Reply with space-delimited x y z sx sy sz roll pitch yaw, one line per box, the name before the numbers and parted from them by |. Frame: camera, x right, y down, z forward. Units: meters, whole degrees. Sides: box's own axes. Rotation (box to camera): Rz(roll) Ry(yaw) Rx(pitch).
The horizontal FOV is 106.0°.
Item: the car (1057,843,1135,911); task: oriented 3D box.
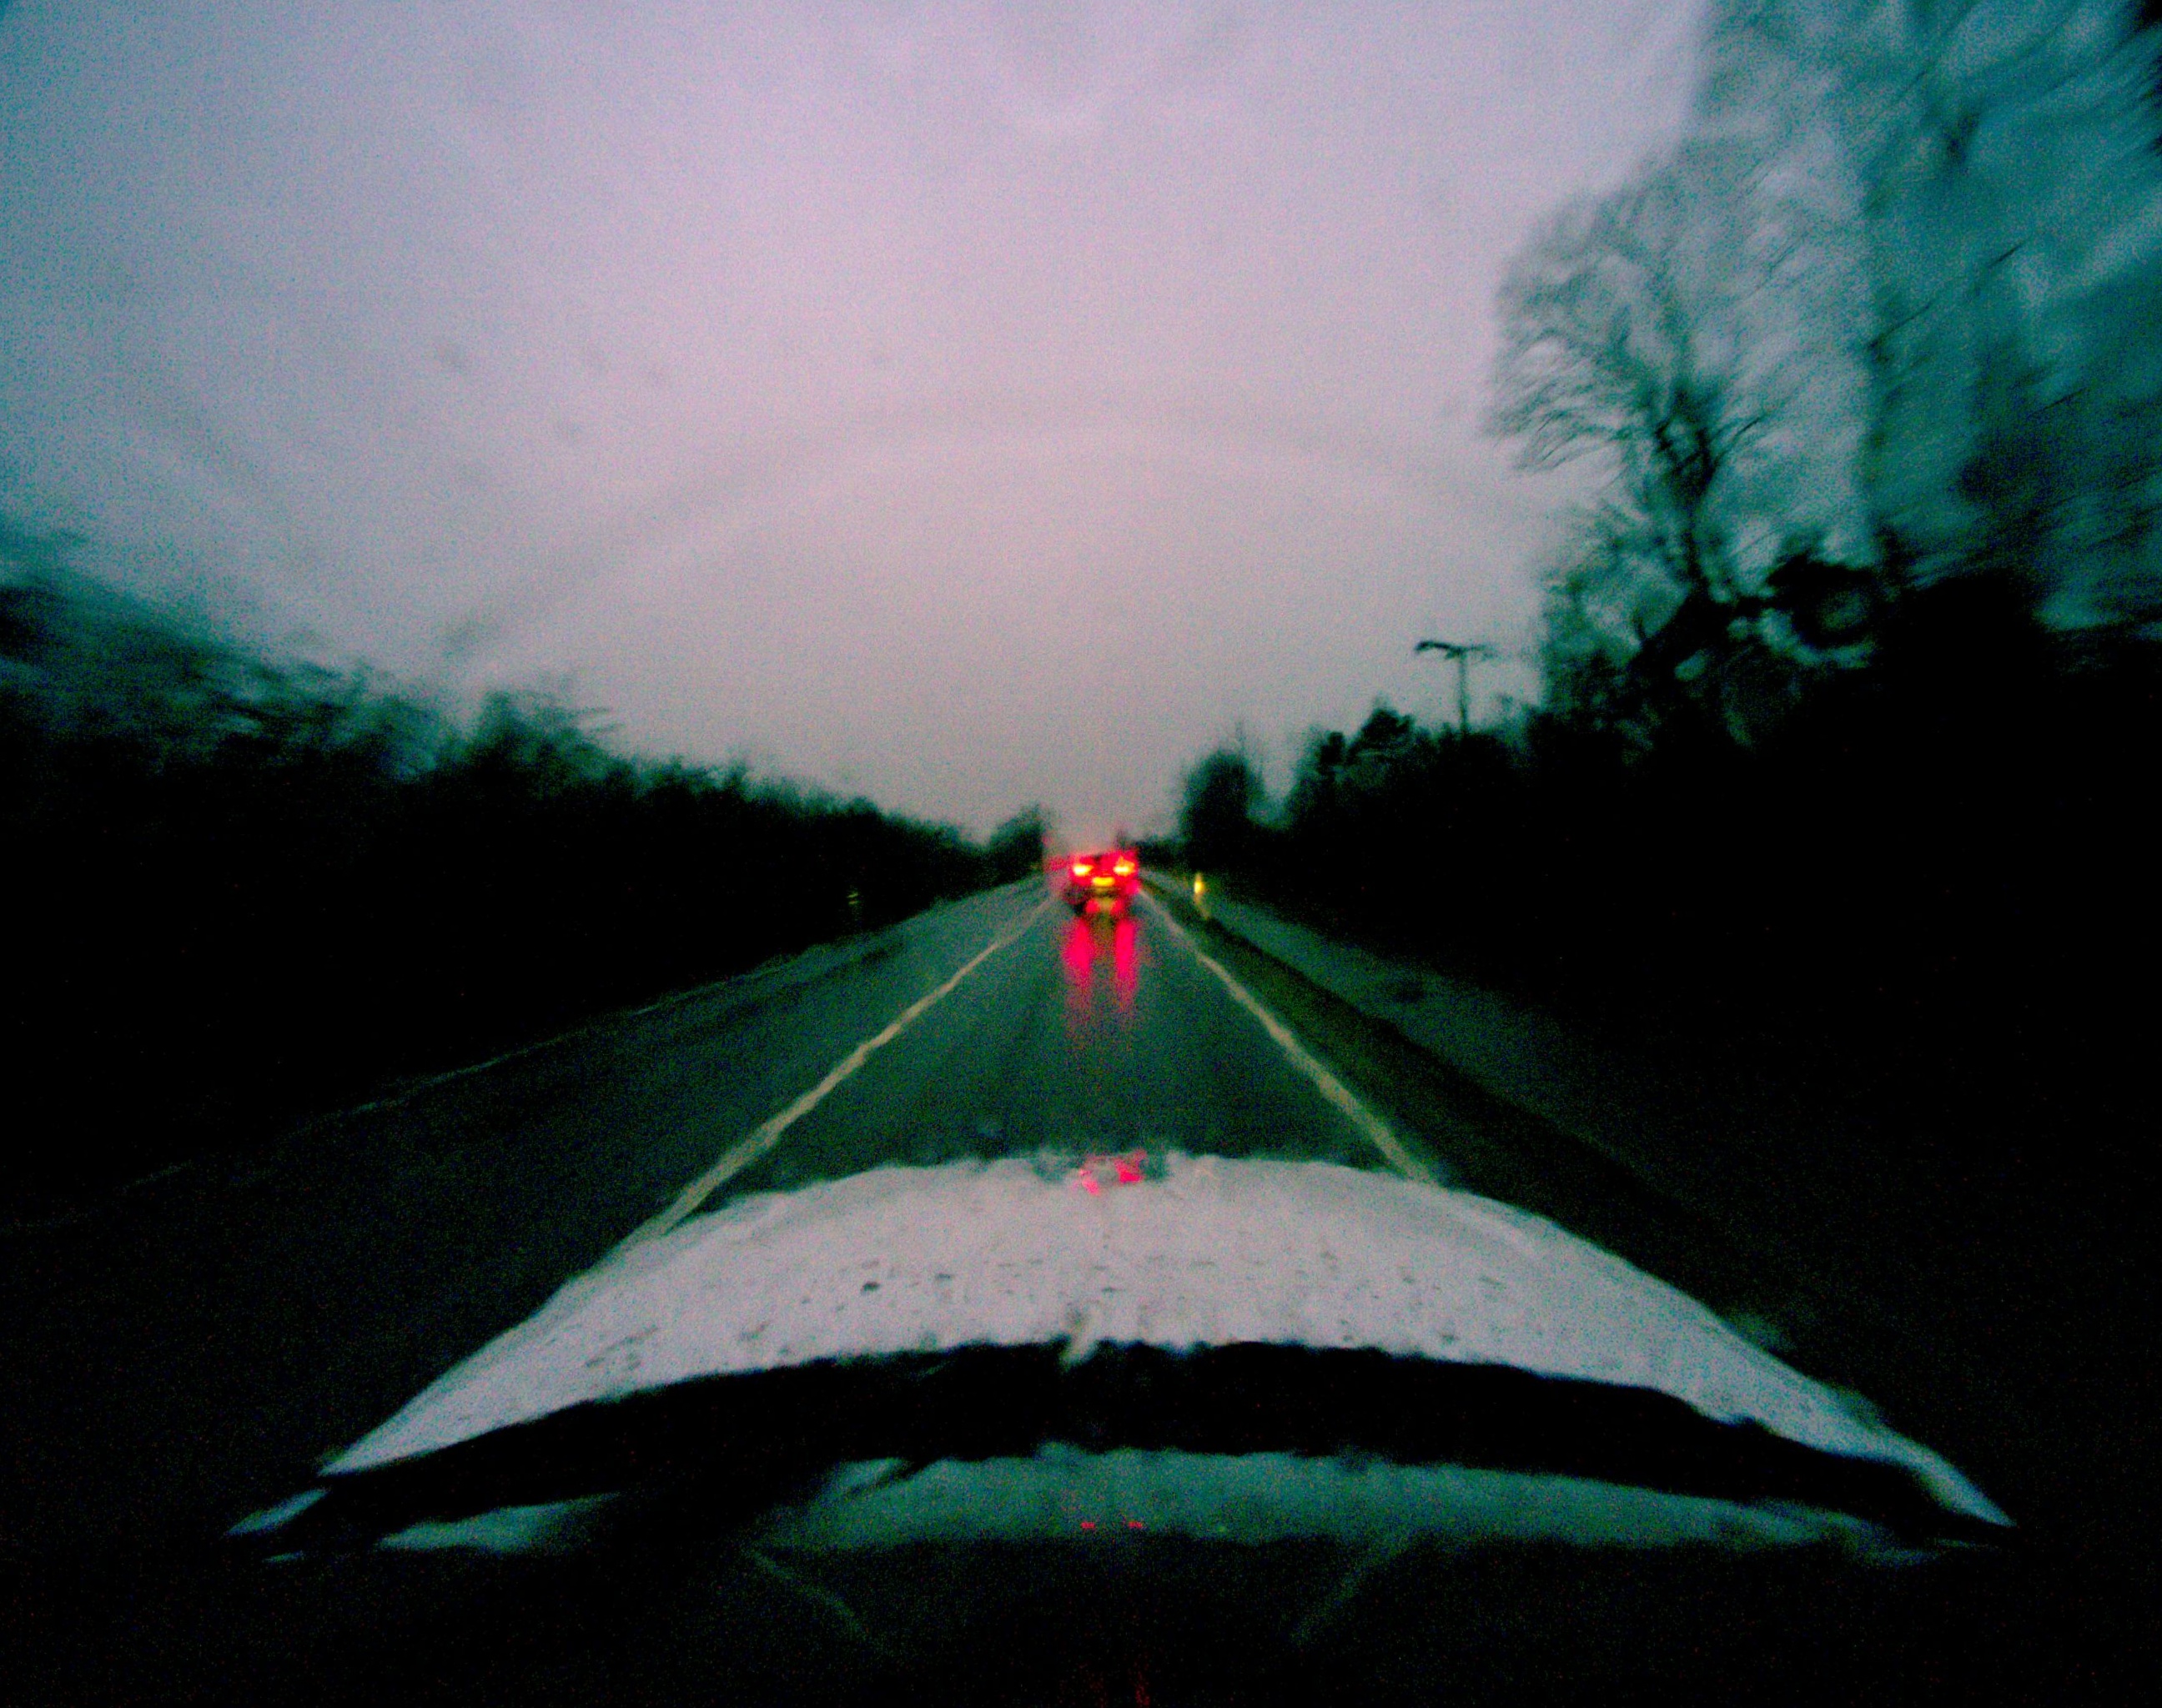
car | 0.484 0.623 24.751 2.112 1.820 4.982 -1 0 2
